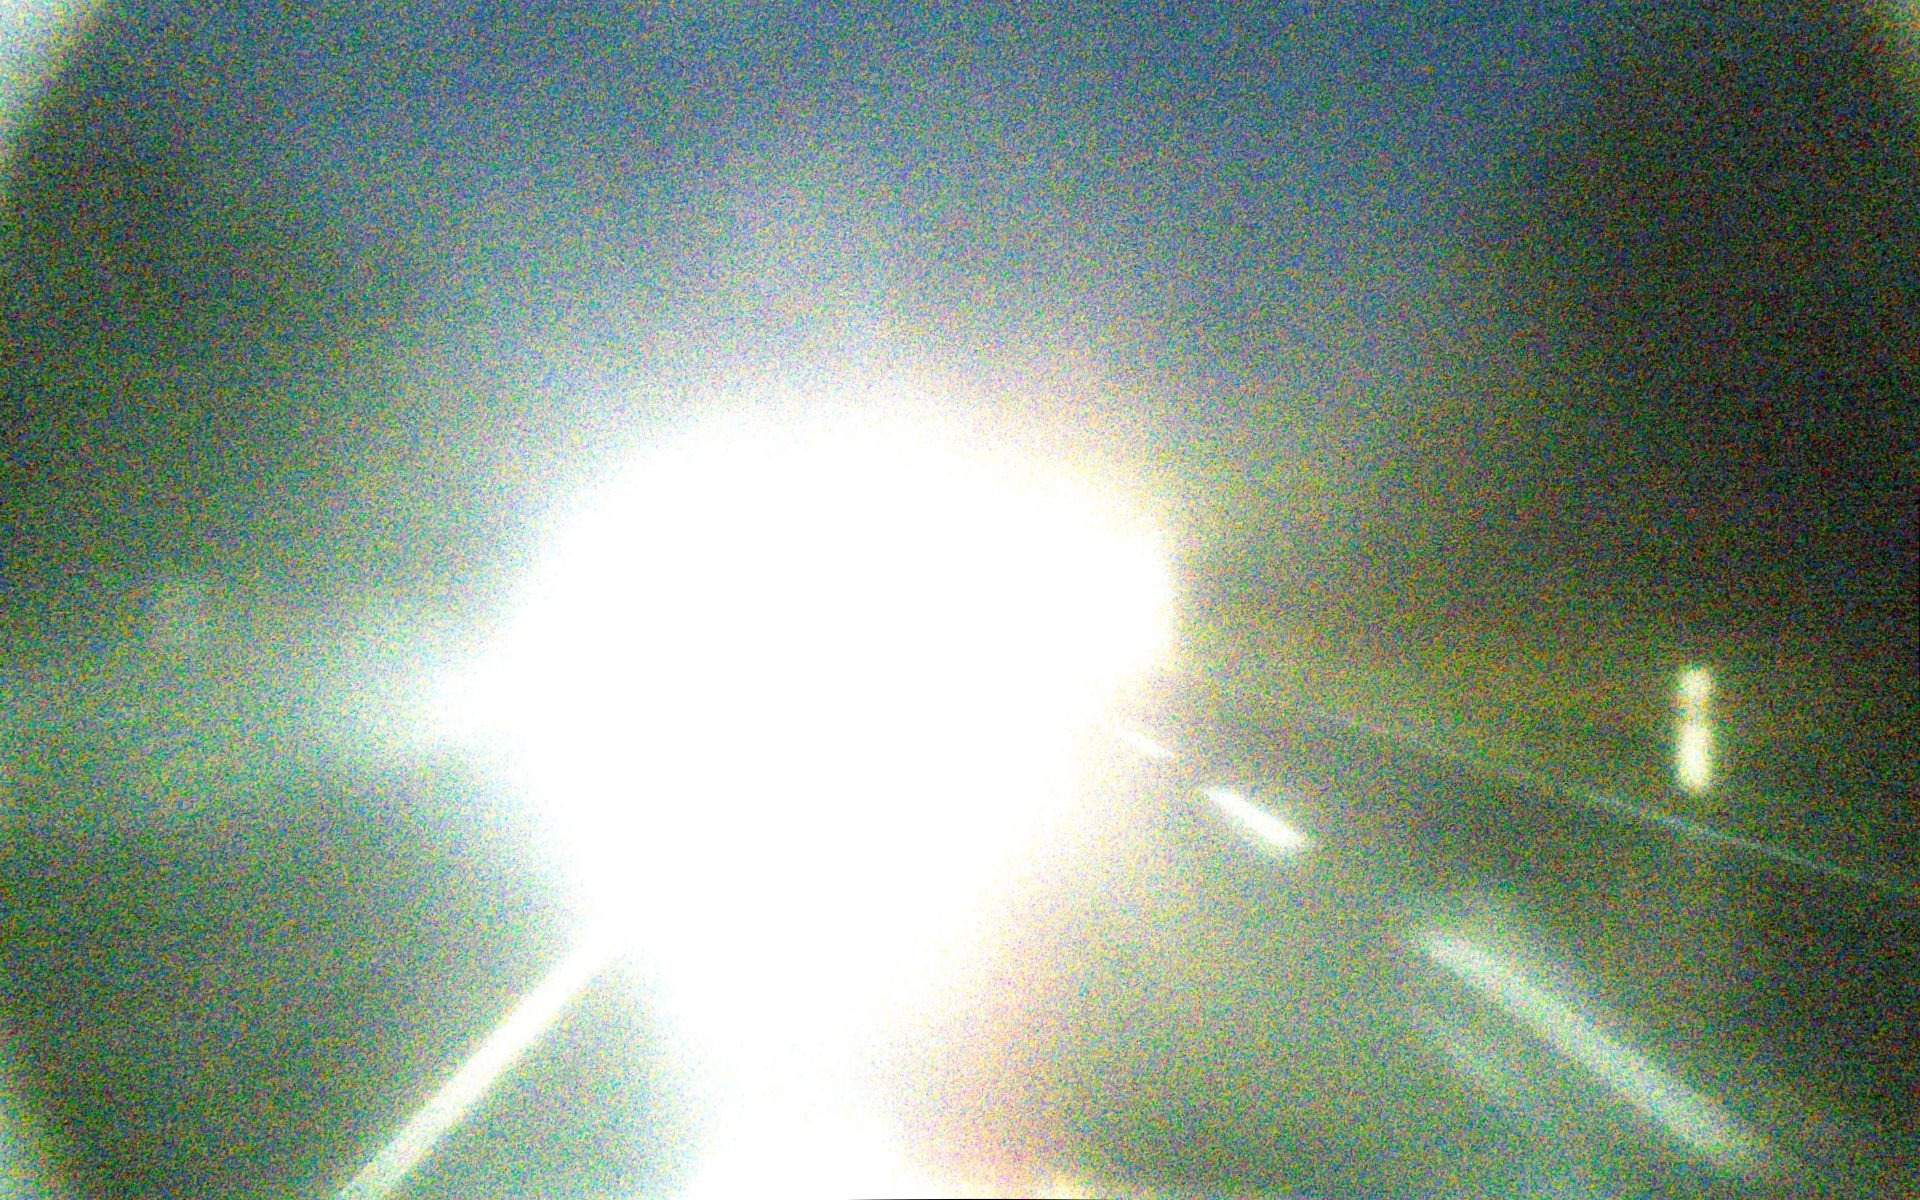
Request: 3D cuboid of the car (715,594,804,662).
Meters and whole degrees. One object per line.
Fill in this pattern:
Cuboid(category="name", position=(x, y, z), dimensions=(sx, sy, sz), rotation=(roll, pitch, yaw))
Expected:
Cuboid(category="car", position=(-4.741, 0.648, 39.613), dimensions=(1.955, 1.499, 4.271), rotation=(1, 0, -6))

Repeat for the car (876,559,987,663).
Cuboid(category="car", position=(-0.512, 0.188, 28.645), dimensions=(1.772, 1.650, 3.998), rotation=(1, 0, -2))
